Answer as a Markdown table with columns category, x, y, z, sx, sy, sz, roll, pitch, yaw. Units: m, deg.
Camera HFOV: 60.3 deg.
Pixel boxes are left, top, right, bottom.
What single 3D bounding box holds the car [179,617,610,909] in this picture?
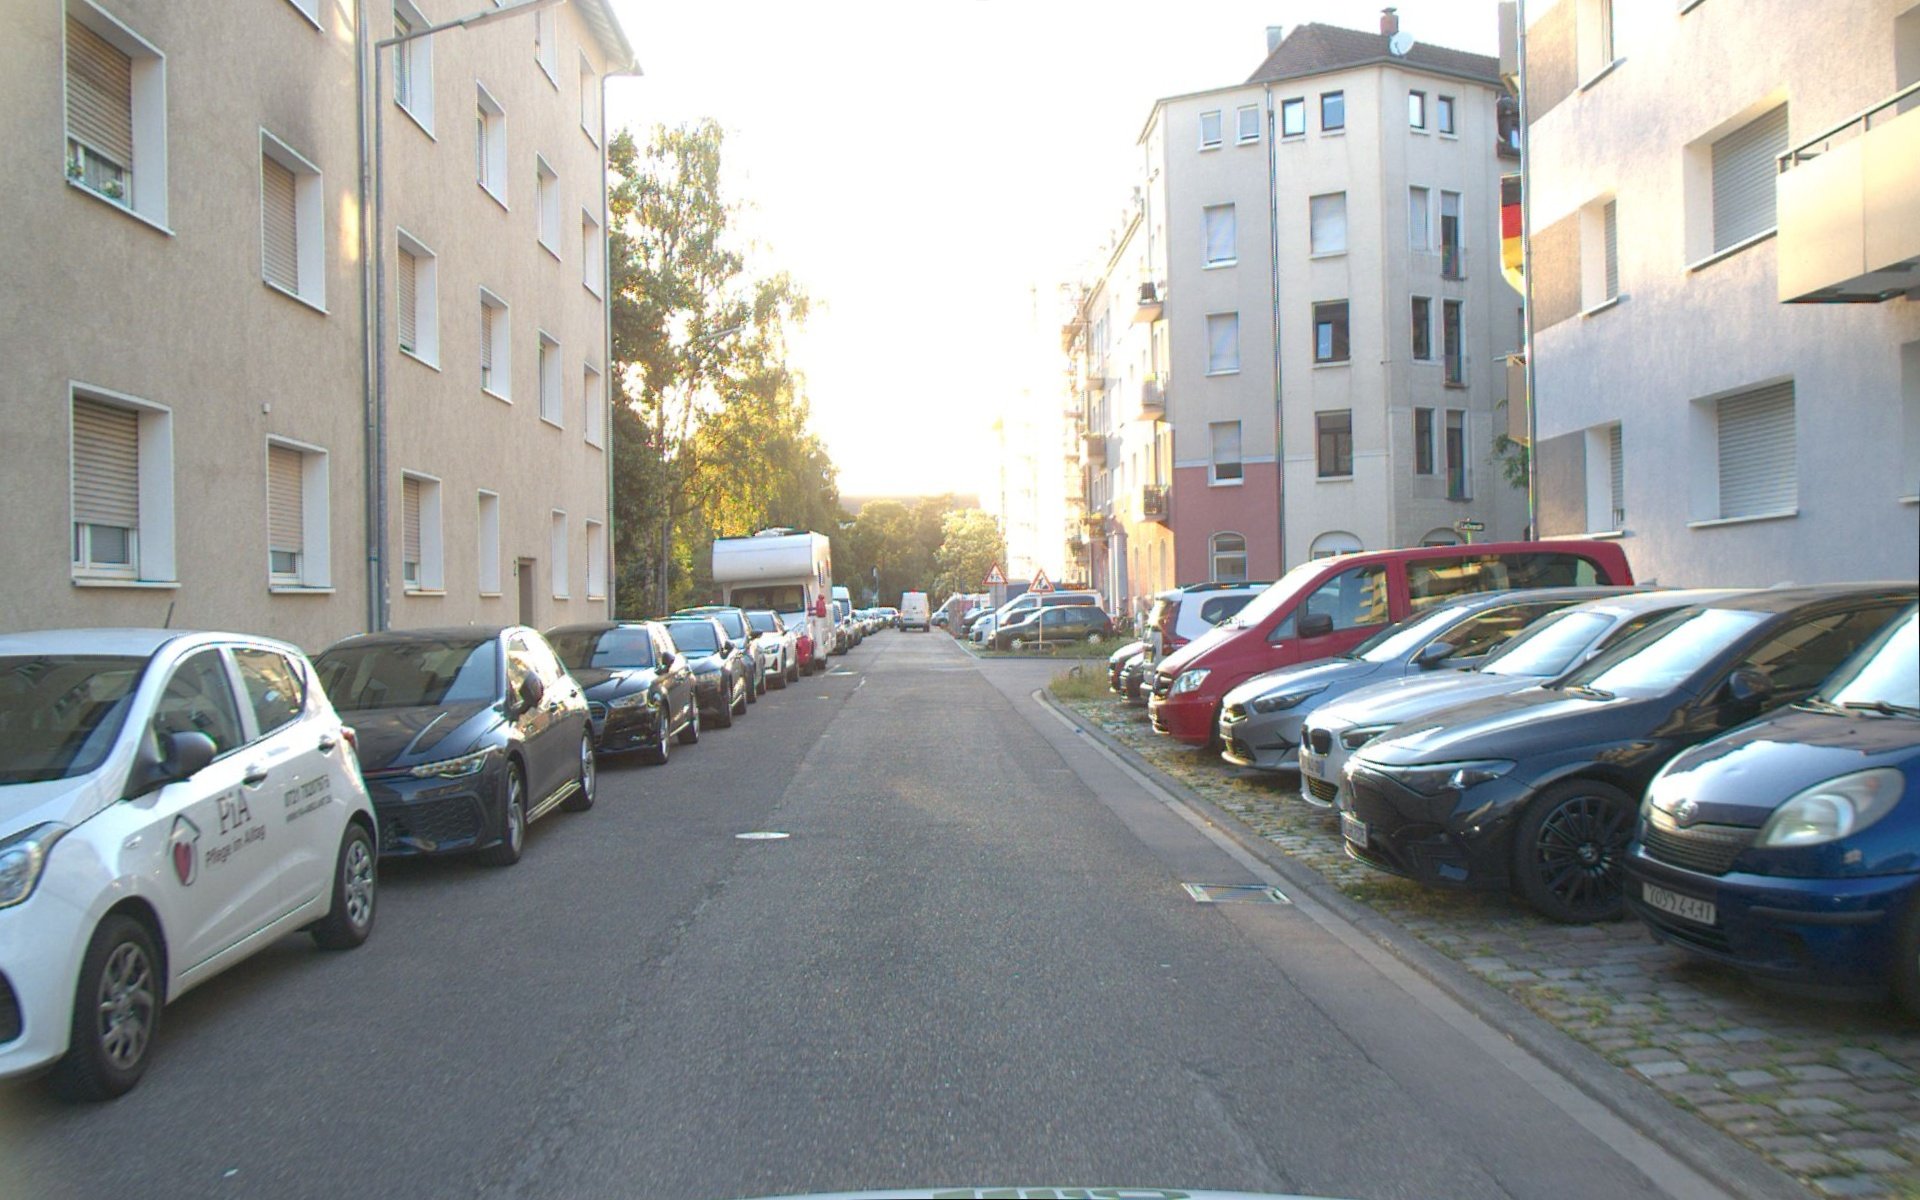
| category | x | y | z | sx | sy | sz | roll | pitch | yaw |
| --- | --- | --- | --- | --- | --- | --- | --- | --- | --- |
| car | -3.519 | 0.909 | 11.077 | 1.626 | 1.459 | 4.028 | -3 | 0 | -3 |

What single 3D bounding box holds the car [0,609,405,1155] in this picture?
| category | x | y | z | sx | sy | sz | roll | pitch | yaw |
| --- | --- | --- | --- | --- | --- | --- | --- | --- | --- |
| car | -3.470 | 0.840 | 6.369 | 1.584 | 1.499 | 3.502 | -3 | 0 | -3 |

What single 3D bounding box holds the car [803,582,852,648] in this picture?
| category | x | y | z | sx | sy | sz | roll | pitch | yaw |
| --- | --- | --- | --- | --- | --- | --- | --- | --- | --- |
| car | -5.336 | 0.579 | 66.986 | 1.734 | 2.488 | 5.142 | -3 | 0 | -3 |

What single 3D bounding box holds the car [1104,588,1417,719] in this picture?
| category | x | y | z | sx | sy | sz | roll | pitch | yaw |
| --- | --- | --- | --- | --- | --- | --- | --- | --- | --- |
| car | 3.876 | 0.676 | 21.728 | 3.735 | 1.453 | 1.634 | -3 | 0 | -3 |

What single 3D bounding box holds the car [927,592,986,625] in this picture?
| category | x | y | z | sx | sy | sz | roll | pitch | yaw |
| --- | --- | --- | --- | --- | --- | --- | --- | --- | --- |
| car | -0.318 | 0.684 | 135.700 | 4.717 | 2.450 | 1.738 | -2 | 0 | -2 |

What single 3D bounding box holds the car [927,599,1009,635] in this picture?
| category | x | y | z | sx | sy | sz | roll | pitch | yaw |
| --- | --- | --- | --- | --- | --- | --- | --- | --- | --- |
| car | 0.354 | 0.823 | 80.983 | 3.907 | 1.557 | 1.658 | -2 | 0 | -2 |

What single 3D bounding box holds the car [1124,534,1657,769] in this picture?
| category | x | y | z | sx | sy | sz | roll | pitch | yaw |
| --- | --- | --- | --- | --- | --- | --- | --- | --- | --- |
| car | 4.103 | 0.471 | 16.334 | 4.628 | 1.942 | 2.058 | -3 | 0 | -3 |

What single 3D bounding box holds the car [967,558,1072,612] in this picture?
| category | x | y | z | sx | sy | sz | roll | pitch | yaw |
| --- | --- | --- | --- | --- | --- | --- | --- | --- | --- |
| car | 2.348 | -0.592 | 65.803 | 3.910 | 2.049 | 1.998 | -1 | 0 | -6 |

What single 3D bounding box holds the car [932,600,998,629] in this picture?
| category | x | y | z | sx | sy | sz | roll | pitch | yaw |
| --- | --- | --- | --- | --- | --- | --- | --- | --- | --- |
| car | 0.295 | 0.874 | 101.561 | 3.907 | 1.557 | 1.658 | -2 | 0 | -2 |

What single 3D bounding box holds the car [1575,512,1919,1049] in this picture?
| category | x | y | z | sx | sy | sz | roll | pitch | yaw |
| --- | --- | --- | --- | --- | --- | --- | --- | --- | --- |
| car | 4.530 | 0.508 | 6.272 | 3.714 | 1.725 | 1.654 | -3 | 0 | -2 |

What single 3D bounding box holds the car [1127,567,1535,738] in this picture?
| category | x | y | z | sx | sy | sz | roll | pitch | yaw |
| --- | --- | --- | --- | --- | --- | --- | --- | --- | --- |
| car | 4.208 | 0.576 | 19.194 | 4.237 | 1.666 | 1.817 | -3 | 0 | -3 |

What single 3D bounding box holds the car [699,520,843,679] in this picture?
| category | x | y | z | sx | sy | sz | roll | pitch | yaw |
| --- | --- | --- | --- | --- | --- | --- | --- | --- | --- |
| car | -4.359 | -0.034 | 39.606 | 2.567 | 3.325 | 7.695 | -3 | 0 | -1 |

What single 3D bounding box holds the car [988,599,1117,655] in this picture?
| category | x | y | z | sx | sy | sz | roll | pitch | yaw |
| --- | --- | --- | --- | --- | --- | --- | --- | --- | --- |
| car | 2.910 | 0.843 | 52.668 | 3.907 | 1.557 | 1.658 | -2 | 0 | -2 |

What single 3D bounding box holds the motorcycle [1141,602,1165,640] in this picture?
| category | x | y | z | sx | sy | sz | roll | pitch | yaw |
| --- | --- | --- | --- | --- | --- | --- | --- | --- | --- |
| motorcycle | 6.558 | 0.709 | 56.336 | 0.507 | 1.249 | 1.980 | -1 | 0 | -2 |

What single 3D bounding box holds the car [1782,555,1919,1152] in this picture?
| category | x | y | z | sx | sy | sz | roll | pitch | yaw |
| --- | --- | --- | --- | --- | --- | --- | --- | --- | --- |
| car | 4.411 | 0.601 | 4.112 | 3.875 | 1.548 | 1.705 | -2 | 0 | -2 |

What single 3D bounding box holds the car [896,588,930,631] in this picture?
| category | x | y | z | sx | sy | sz | roll | pitch | yaw |
| --- | --- | --- | --- | --- | --- | --- | --- | --- | --- |
| car | -3.275 | 0.625 | 113.949 | 2.086 | 2.764 | 4.830 | -3 | 0 | -3 |

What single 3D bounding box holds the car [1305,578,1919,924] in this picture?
| category | x | y | z | sx | sy | sz | roll | pitch | yaw |
| --- | --- | --- | --- | --- | --- | --- | --- | --- | --- |
| car | 4.131 | 0.683 | 8.684 | 4.222 | 1.475 | 1.654 | -3 | 0 | -2 |

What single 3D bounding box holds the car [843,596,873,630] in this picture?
| category | x | y | z | sx | sy | sz | roll | pitch | yaw |
| --- | --- | --- | --- | --- | --- | --- | --- | --- | --- |
| car | -5.971 | 0.738 | 96.828 | 1.620 | 1.862 | 3.873 | -3 | 0 | -3 |

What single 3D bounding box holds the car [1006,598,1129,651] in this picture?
| category | x | y | z | sx | sy | sz | roll | pitch | yaw |
| --- | --- | --- | --- | --- | --- | --- | --- | --- | --- |
| car | 3.545 | 0.795 | 55.009 | 3.907 | 1.557 | 1.658 | -2 | 0 | -2 |

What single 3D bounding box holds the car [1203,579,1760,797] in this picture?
| category | x | y | z | sx | sy | sz | roll | pitch | yaw |
| --- | --- | --- | --- | --- | --- | --- | --- | --- | --- |
| car | 4.224 | 0.684 | 13.785 | 4.062 | 1.496 | 1.635 | -3 | 0 | -3 |

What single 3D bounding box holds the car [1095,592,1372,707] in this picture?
| category | x | y | z | sx | sy | sz | roll | pitch | yaw |
| --- | --- | --- | --- | --- | --- | --- | --- | --- | --- |
| car | 3.976 | 0.706 | 24.410 | 3.735 | 1.453 | 1.634 | -3 | 0 | -3 |

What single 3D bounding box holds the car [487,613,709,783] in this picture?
| category | x | y | z | sx | sy | sz | roll | pitch | yaw |
| --- | --- | --- | --- | --- | --- | --- | --- | --- | --- |
| car | -3.667 | 0.932 | 17.362 | 1.620 | 1.459 | 3.793 | -3 | 0 | -3 |

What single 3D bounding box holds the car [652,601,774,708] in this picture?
| category | x | y | z | sx | sy | sz | roll | pitch | yaw |
| --- | --- | --- | --- | --- | --- | --- | --- | --- | --- |
| car | -4.137 | 0.867 | 28.137 | 1.620 | 1.592 | 3.873 | -3 | 0 | -3 |

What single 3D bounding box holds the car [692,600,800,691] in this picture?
| category | x | y | z | sx | sy | sz | roll | pitch | yaw |
| --- | --- | --- | --- | --- | --- | --- | --- | --- | --- |
| car | -4.095 | 0.834 | 32.182 | 1.619 | 1.568 | 3.875 | -3 | 0 | -2 |

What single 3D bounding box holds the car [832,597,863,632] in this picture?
| category | x | y | z | sx | sy | sz | roll | pitch | yaw |
| --- | --- | --- | --- | --- | --- | --- | --- | --- | --- |
| car | -6.226 | 0.782 | 91.834 | 1.620 | 1.862 | 3.873 | -3 | 0 | -3 |

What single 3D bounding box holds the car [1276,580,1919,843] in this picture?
| category | x | y | z | sx | sy | sz | roll | pitch | yaw |
| --- | --- | --- | --- | --- | --- | --- | --- | --- | --- |
| car | 4.241 | 0.694 | 11.207 | 3.798 | 1.441 | 1.635 | -3 | 0 | -4 |

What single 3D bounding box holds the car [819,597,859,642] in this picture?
| category | x | y | z | sx | sy | sz | roll | pitch | yaw |
| --- | --- | --- | --- | --- | --- | --- | --- | --- | --- |
| car | -5.352 | 0.830 | 73.427 | 1.620 | 1.862 | 3.873 | -3 | 0 | -3 |

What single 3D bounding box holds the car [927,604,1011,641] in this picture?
| category | x | y | z | sx | sy | sz | roll | pitch | yaw |
| --- | --- | --- | --- | --- | --- | --- | --- | --- | --- |
| car | 0.401 | 1.084 | 79.142 | 3.907 | 1.557 | 1.658 | -2 | 0 | -2 |

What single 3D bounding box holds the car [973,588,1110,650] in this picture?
| category | x | y | z | sx | sy | sz | roll | pitch | yaw |
| --- | --- | --- | --- | --- | --- | --- | --- | --- | --- |
| car | 2.913 | 0.671 | 59.610 | 4.717 | 2.002 | 1.738 | -2 | 0 | -2 |

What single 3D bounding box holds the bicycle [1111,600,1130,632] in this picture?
| category | x | y | z | sx | sy | sz | roll | pitch | yaw |
| --- | --- | --- | --- | --- | --- | --- | --- | --- | --- |
| bicycle | 6.464 | 0.630 | 66.872 | 0.507 | 1.249 | 1.980 | -1 | 0 | -2 |

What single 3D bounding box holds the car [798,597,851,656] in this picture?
| category | x | y | z | sx | sy | sz | roll | pitch | yaw |
| --- | --- | --- | --- | --- | --- | --- | --- | --- | --- |
| car | -4.592 | 0.870 | 56.539 | 1.620 | 1.862 | 3.873 | -3 | 0 | -3 |

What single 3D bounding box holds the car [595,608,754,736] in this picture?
| category | x | y | z | sx | sy | sz | roll | pitch | yaw |
| --- | --- | --- | --- | --- | --- | --- | --- | --- | --- |
| car | -3.771 | 0.898 | 22.411 | 1.620 | 1.459 | 3.873 | -3 | 0 | -3 |
